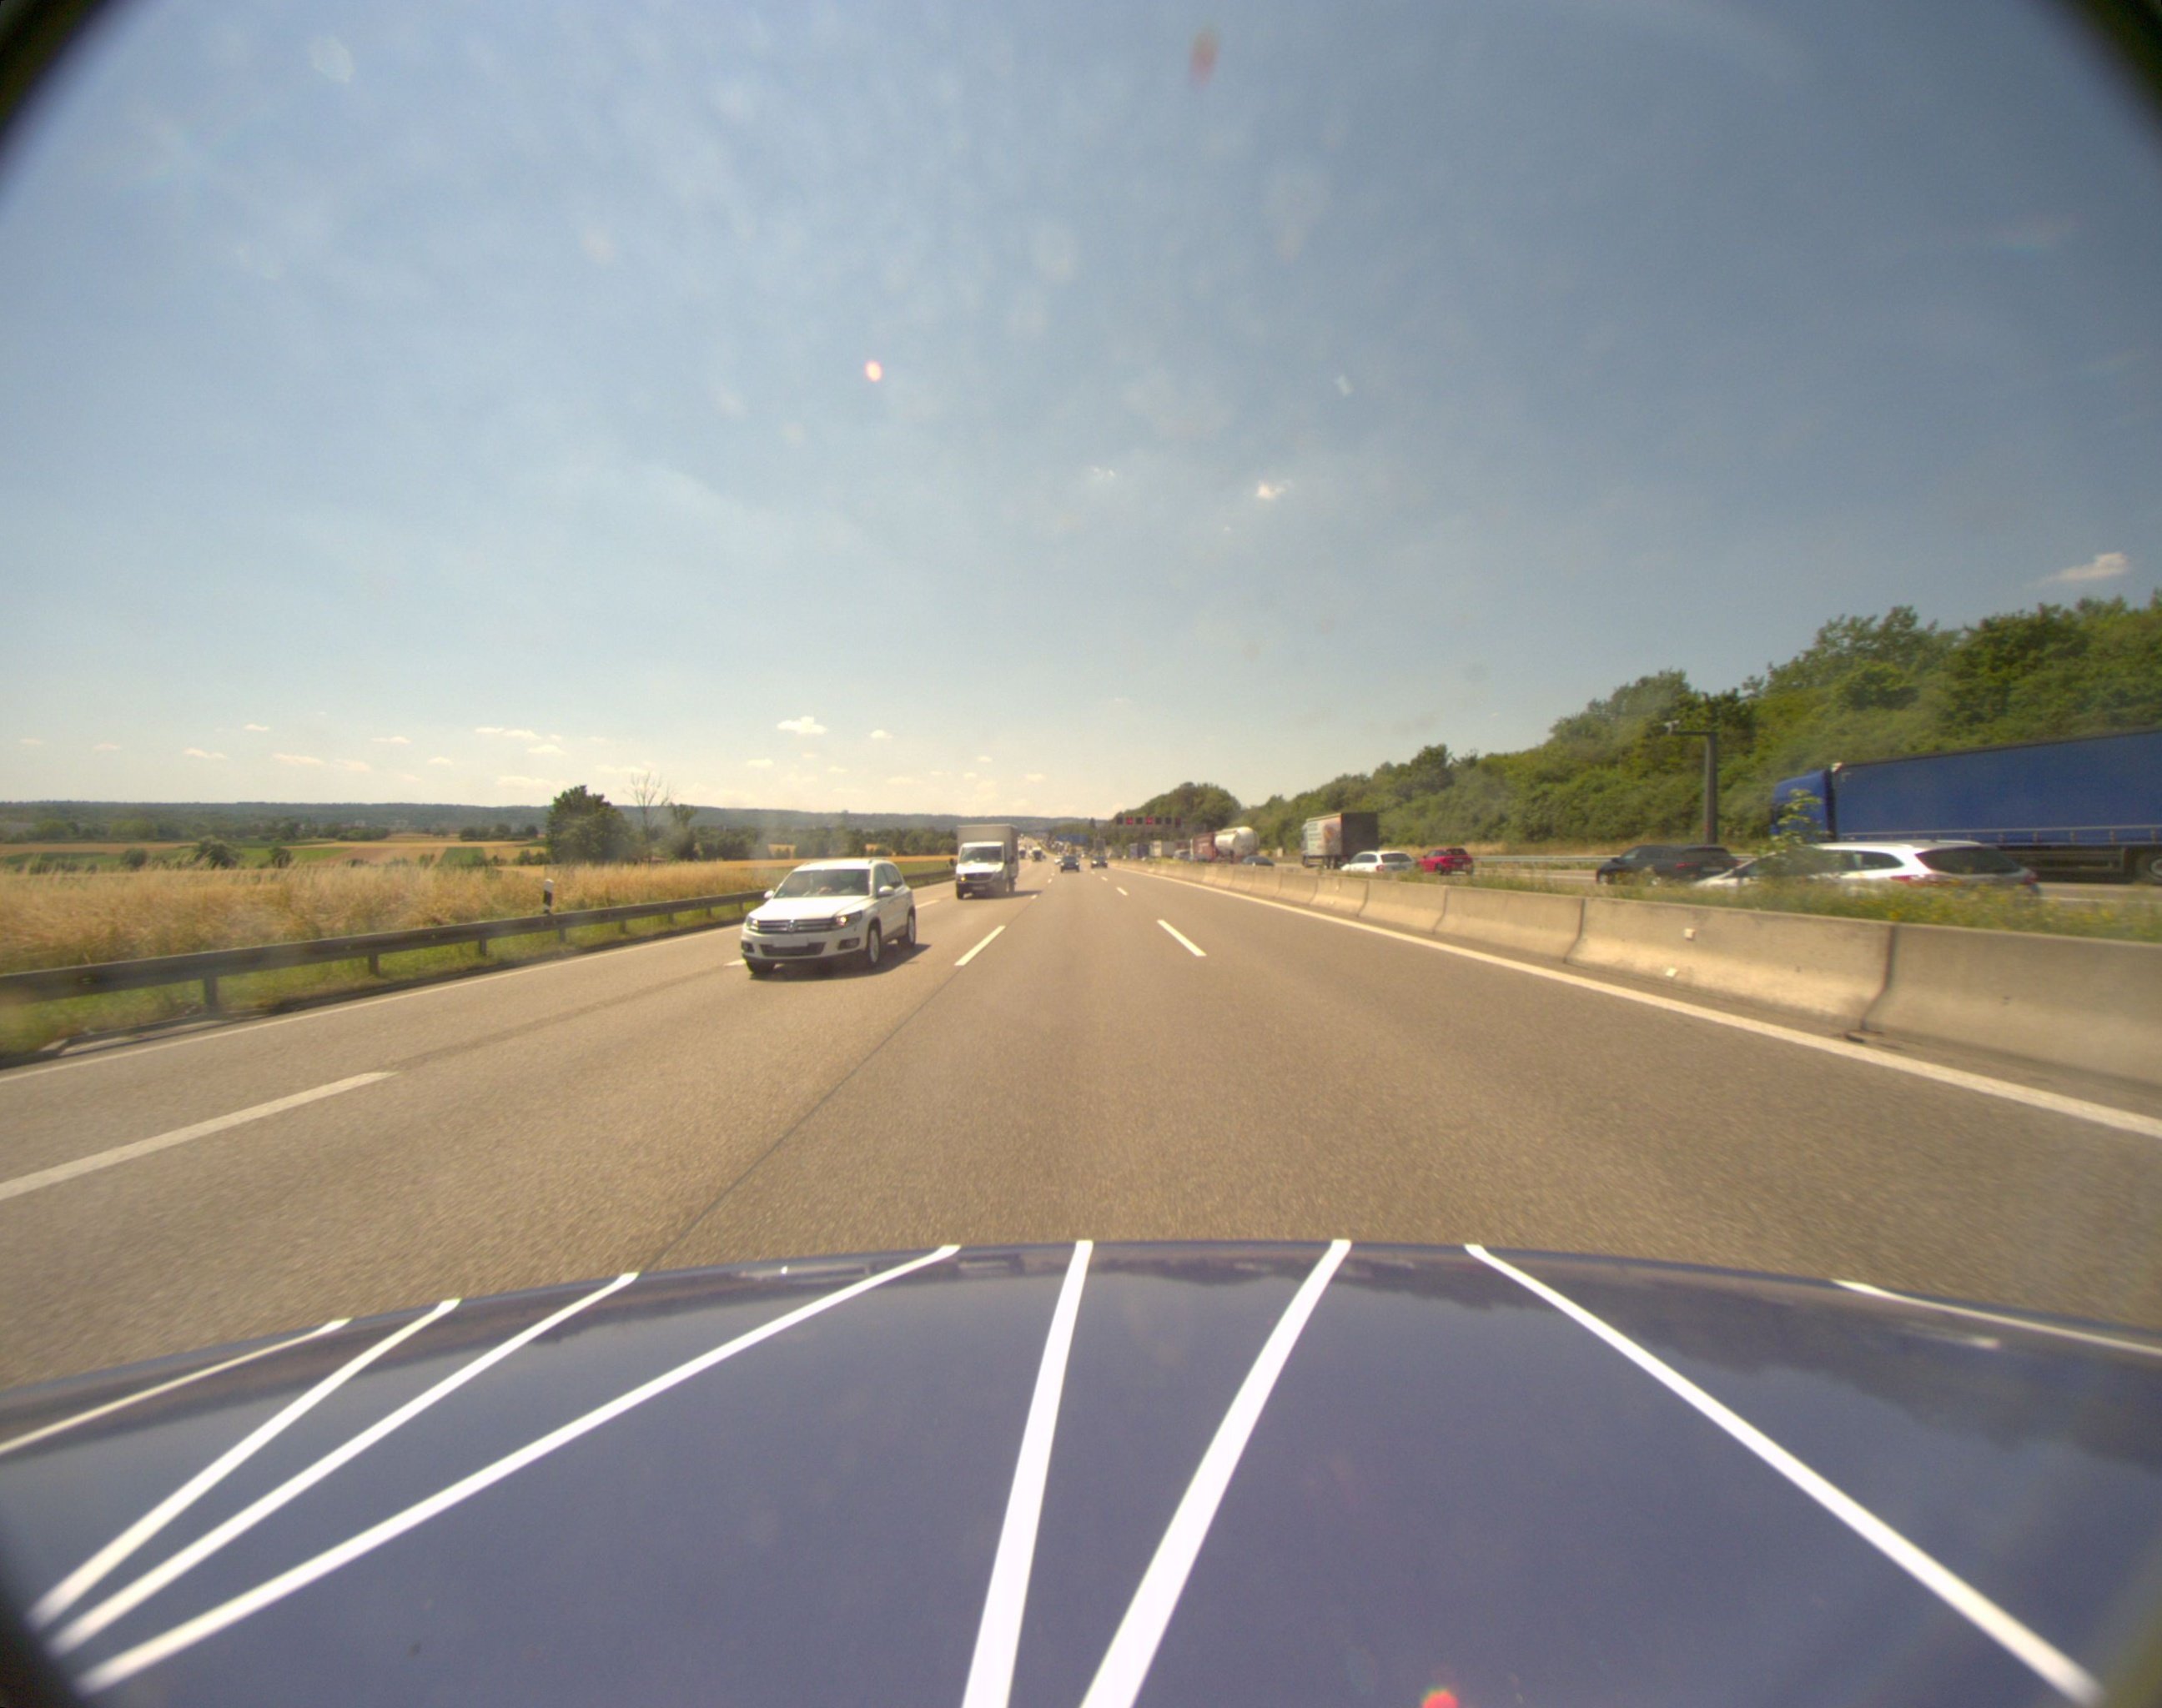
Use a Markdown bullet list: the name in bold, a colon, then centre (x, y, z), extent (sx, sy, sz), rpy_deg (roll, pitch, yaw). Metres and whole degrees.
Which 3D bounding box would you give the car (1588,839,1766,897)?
- **car**: centre (16.969, 0.346, 21.990), extent (1.881, 1.441, 4.633), rpy_deg (-1, 0, 6)

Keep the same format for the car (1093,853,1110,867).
- **car**: centre (2.439, 0.746, 89.152), extent (1.807, 1.533, 4.752), rpy_deg (-2, -2, 3)

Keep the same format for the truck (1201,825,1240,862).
- **truck**: centre (15.118, -1.139, 82.989), extent (2.891, 3.859, 6.085), rpy_deg (-2, 1, -1)

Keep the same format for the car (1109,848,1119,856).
- **car**: centre (7.107, -0.335, 164.138), extent (1.911, 1.662, 3.998), rpy_deg (-1, 0, -3)

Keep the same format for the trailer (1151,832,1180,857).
- **trailer**: centre (15.955, -1.787, 145.083), extent (3.363, 4.548, 13.644), rpy_deg (-2, 1, -2)

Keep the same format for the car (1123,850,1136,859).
- **car**: centre (8.783, 0.091, 138.364), extent (1.767, 1.419, 3.998), rpy_deg (-1, 0, -5)

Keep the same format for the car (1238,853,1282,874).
- **car**: centre (11.526, 0.571, 49.097), extent (1.795, 1.268, 4.221), rpy_deg (-1, 0, -1)

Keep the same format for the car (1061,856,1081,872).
- **car**: centre (-0.976, 0.916, 74.254), extent (1.866, 1.426, 3.999), rpy_deg (-1, 0, -2)

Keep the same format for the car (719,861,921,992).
- **car**: centre (-3.939, 0.993, 12.277), extent (1.837, 1.635, 4.172), rpy_deg (-2, 0, -1)

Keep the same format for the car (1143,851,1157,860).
- **car**: centre (10.303, 0.263, 113.118), extent (1.617, 1.315, 3.424), rpy_deg (-1, 0, -2)

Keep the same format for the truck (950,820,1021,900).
- **truck**: centre (-3.979, 0.226, 32.948), extent (2.445, 3.010, 6.914), rpy_deg (-2, 0, -3)

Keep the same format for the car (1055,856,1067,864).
- **car**: centre (-3.743, 1.109, 141.292), extent (1.999, 1.467, 3.999), rpy_deg (-2, 1, 0)

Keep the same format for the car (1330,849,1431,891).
- **car**: centre (12.032, 0.599, 30.977), extent (1.999, 1.511, 5.151), rpy_deg (-2, 0, -1)

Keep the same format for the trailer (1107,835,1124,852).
- **trailer**: centre (8.681, -2.683, 191.841), extent (3.133, 4.143, 10.195), rpy_deg (-2, 1, -4)

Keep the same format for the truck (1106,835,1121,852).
- **truck**: centre (8.359, -2.783, 197.416), extent (3.133, 4.143, 6.233), rpy_deg (-2, 1, -4)

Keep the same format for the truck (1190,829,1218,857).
- **truck**: centre (17.841, -1.568, 110.440), extent (2.976, 3.986, 5.131), rpy_deg (-1, 1, -1)

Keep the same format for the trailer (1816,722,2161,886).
- **trailer**: centre (27.665, -1.270, 19.838), extent (3.088, 3.948, 14.494), rpy_deg (-2, 0, 1)

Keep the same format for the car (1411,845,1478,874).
- **car**: centre (18.954, 0.240, 39.810), extent (1.751, 1.396, 4.212), rpy_deg (-1, 0, 4)

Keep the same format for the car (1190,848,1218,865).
- **car**: centre (12.002, 0.205, 74.227), extent (1.848, 1.461, 4.831), rpy_deg (-2, 1, -1)

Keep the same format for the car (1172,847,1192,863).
- **car**: centre (13.663, 0.100, 103.024), extent (1.961, 2.018, 4.544), rpy_deg (-1, 0, -2)

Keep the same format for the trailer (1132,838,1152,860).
- **trailer**: centre (14.312, -1.192, 178.605), extent (3.021, 4.698, 11.022), rpy_deg (-2, 1, -3)

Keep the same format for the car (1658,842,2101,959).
- **car**: centre (12.063, 0.594, 12.132), extent (1.999, 1.436, 4.792), rpy_deg (-2, 0, -1)

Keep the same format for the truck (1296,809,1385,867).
- **truck**: centre (19.124, -1.099, 56.870), extent (3.016, 3.894, 10.354), rpy_deg (-2, 0, 0)

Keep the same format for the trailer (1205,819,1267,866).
- **trailer**: centre (15.262, -1.125, 76.153), extent (2.945, 4.141, 14.168), rpy_deg (-2, 1, -1)

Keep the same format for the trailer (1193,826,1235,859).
- **trailer**: centre (17.948, -1.515, 103.690), extent (2.946, 4.086, 14.081), rpy_deg (-1, 0, -1)

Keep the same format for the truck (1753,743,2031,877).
- **truck**: centre (27.755, -1.335, 26.510), extent (3.096, 4.005, 6.094), rpy_deg (-2, 0, 0)
